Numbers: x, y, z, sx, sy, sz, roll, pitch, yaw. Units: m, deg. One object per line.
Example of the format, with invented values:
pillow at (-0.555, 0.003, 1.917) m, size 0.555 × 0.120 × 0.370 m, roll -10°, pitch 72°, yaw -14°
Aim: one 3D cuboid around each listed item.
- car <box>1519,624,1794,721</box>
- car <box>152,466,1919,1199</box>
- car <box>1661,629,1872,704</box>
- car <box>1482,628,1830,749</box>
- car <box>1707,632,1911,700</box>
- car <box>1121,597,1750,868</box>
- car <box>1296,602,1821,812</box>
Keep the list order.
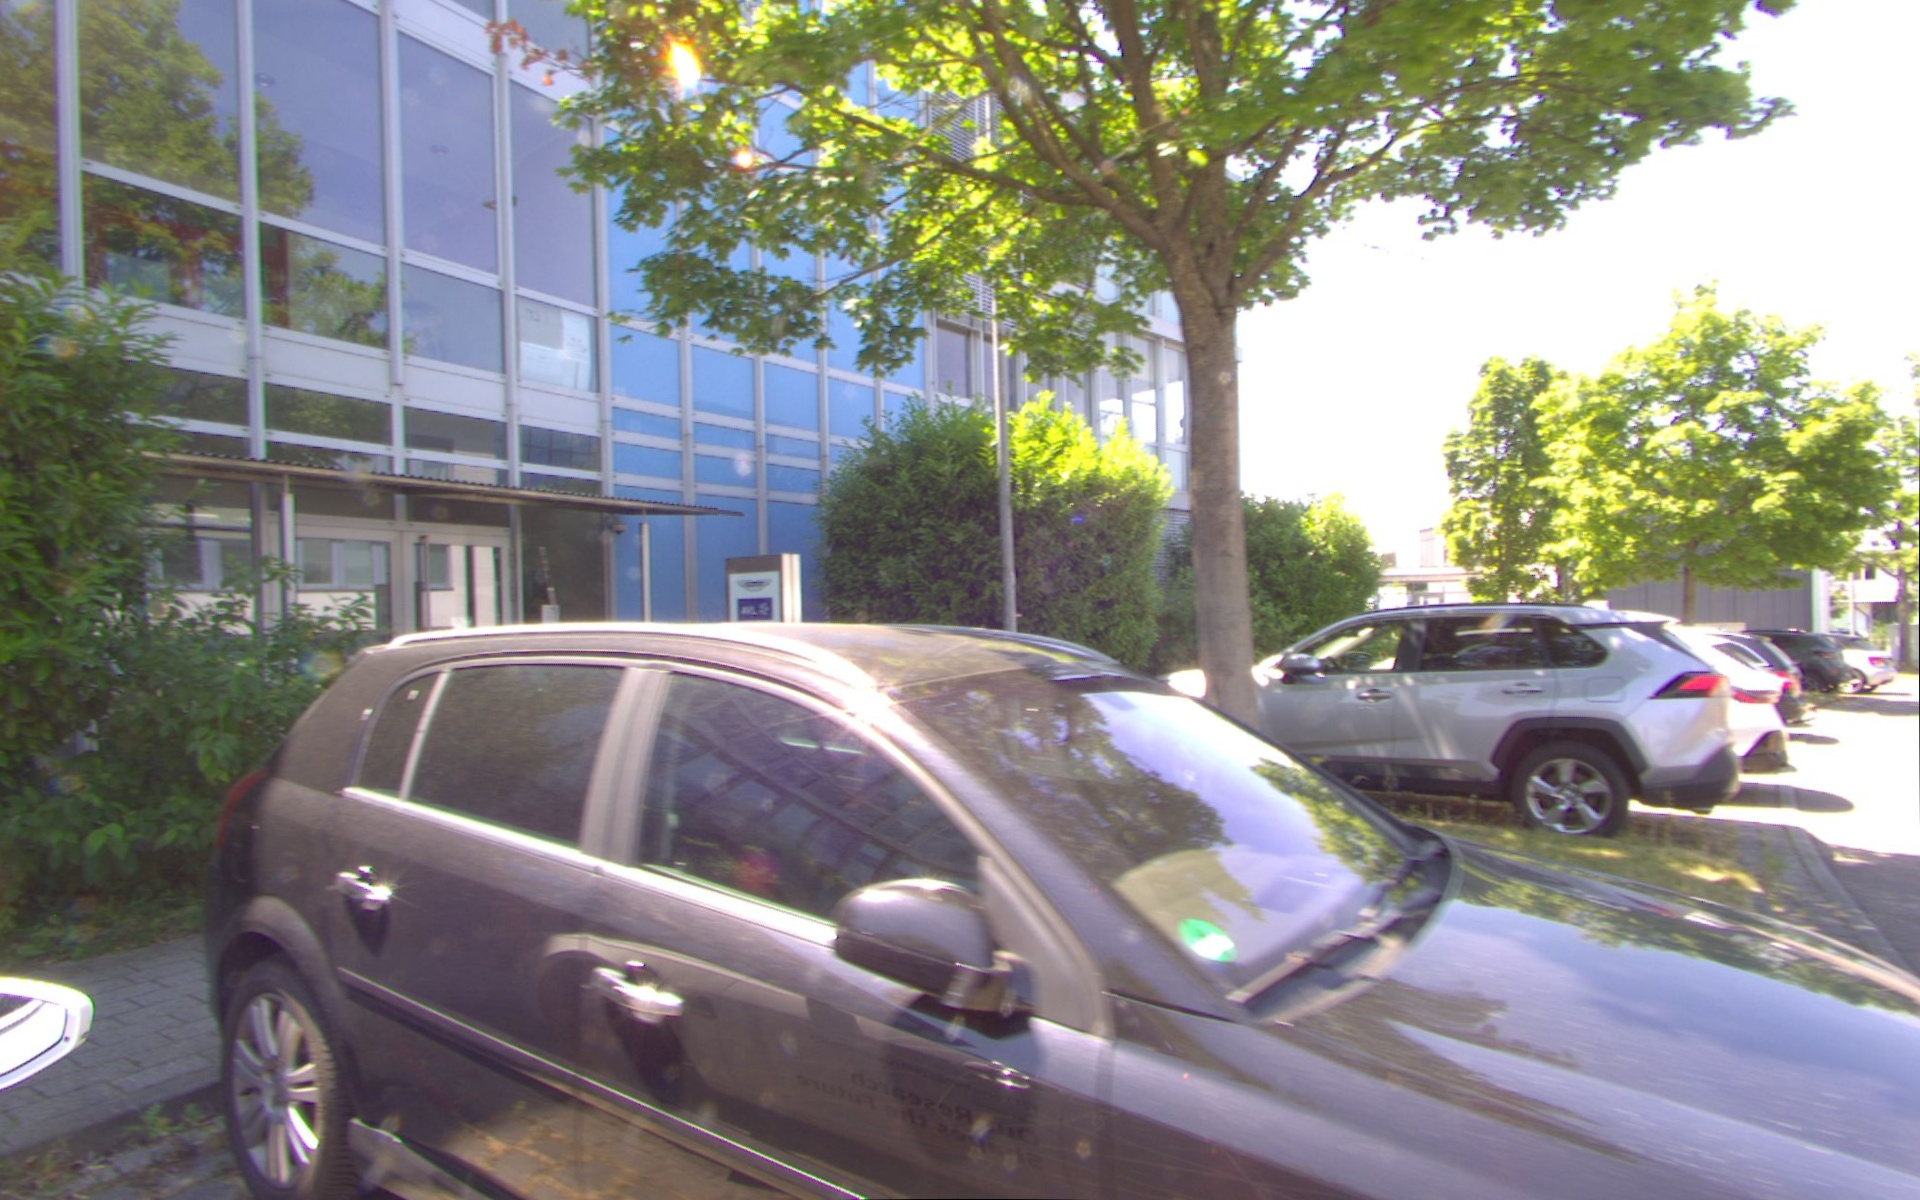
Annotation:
car at (13.474, 1.317, 19.584) m, size 1.643 × 1.626 × 4.142 m, roll 2°, pitch -1°, yaw -40°
car at (-0.002, 0.723, 2.393) m, size 4.502 × 1.569 × 1.754 m, roll -1°, pitch -2°, yaw 34°
car at (18.835, 1.499, 23.502) m, size 1.616 × 1.545 × 3.564 m, roll 2°, pitch -1°, yaw -36°
car at (10.403, 1.229, 15.169) m, size 4.133 × 1.505 × 1.646 m, roll 0°, pitch -1°, yaw 44°
car at (20.853, 1.566, 24.712) m, size 1.616 × 1.462 × 3.564 m, roll 2°, pitch -1°, yaw -36°
car at (3.669, 0.839, 8.197) m, size 4.275 × 1.664 × 1.846 m, roll 0°, pitch -1°, yaw 36°
car at (5.671, 0.881, 9.902) m, size 4.147 × 1.664 × 1.651 m, roll 0°, pitch -1°, yaw 36°
